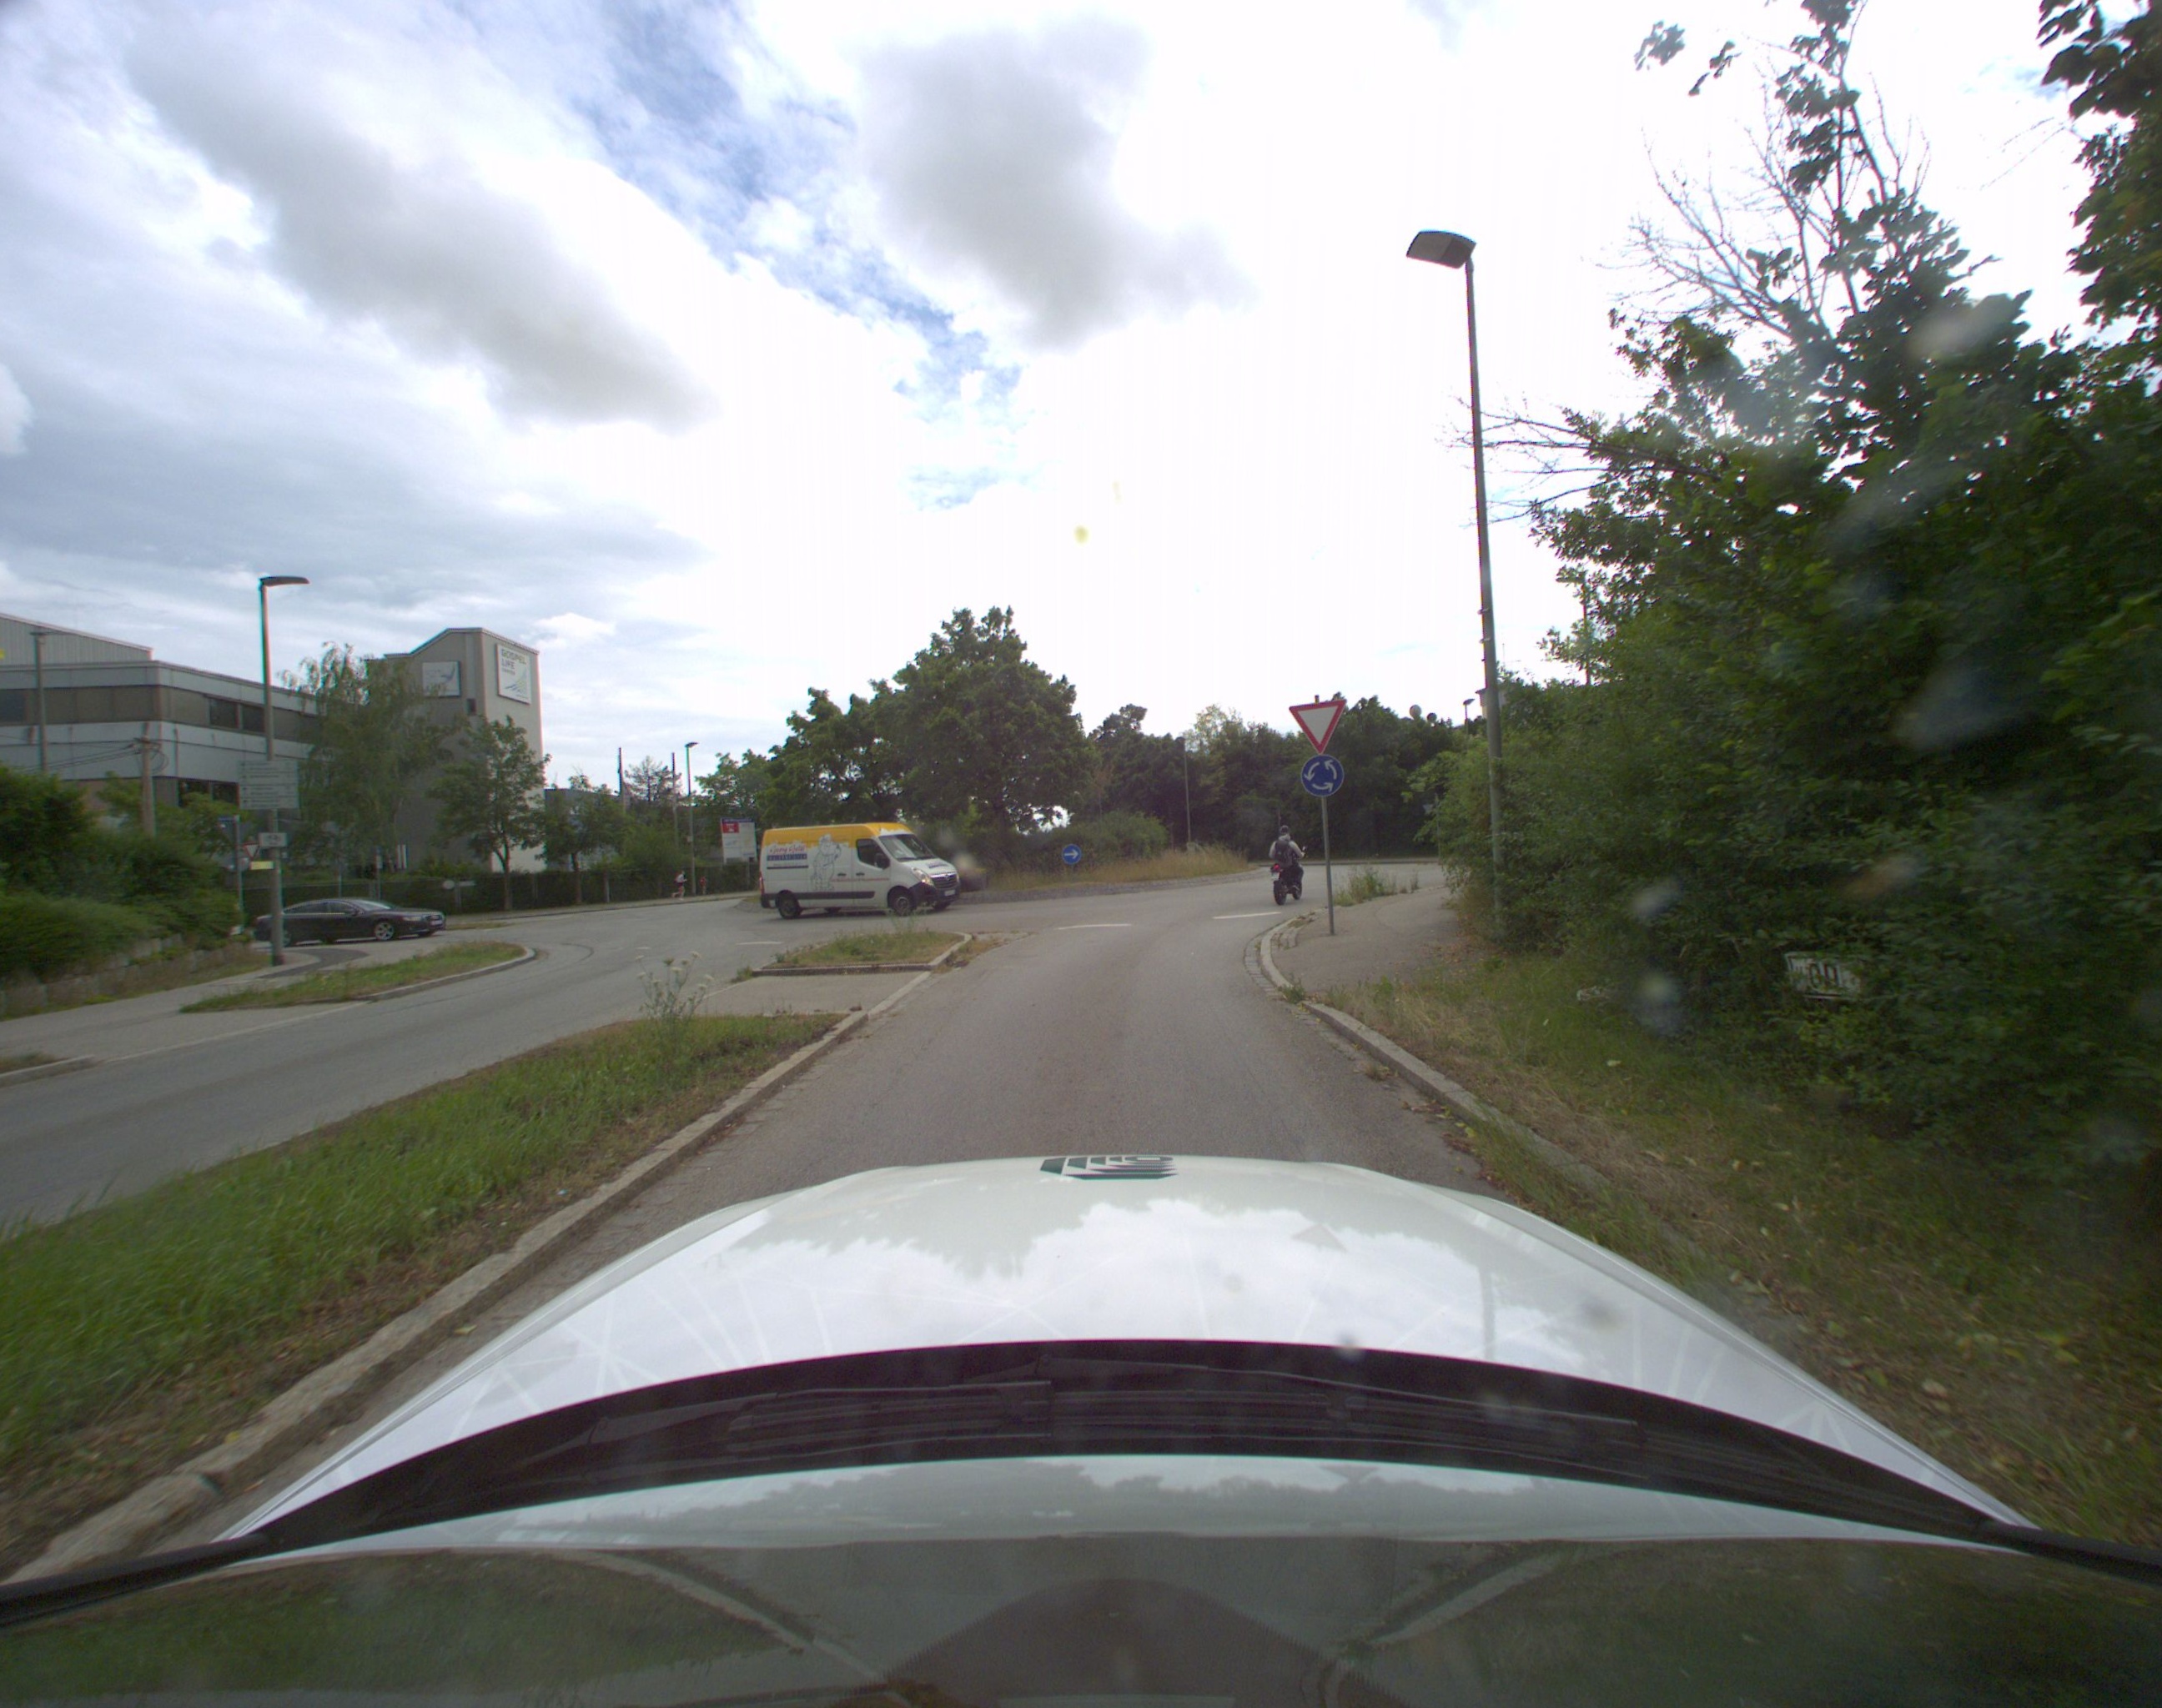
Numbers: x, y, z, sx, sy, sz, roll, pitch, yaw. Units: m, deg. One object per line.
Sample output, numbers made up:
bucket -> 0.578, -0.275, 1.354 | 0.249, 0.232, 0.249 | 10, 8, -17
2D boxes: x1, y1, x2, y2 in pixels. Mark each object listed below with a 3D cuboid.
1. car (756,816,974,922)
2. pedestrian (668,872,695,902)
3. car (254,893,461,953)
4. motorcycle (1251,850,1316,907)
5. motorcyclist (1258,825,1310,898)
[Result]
car -> -5.856, 0.420, 22.047 | 5.375, 2.451, 2.182 | -4, 1, 24
pedestrian -> -20.307, 1.678, 41.374 | 0.625, 1.468, 0.955 | -4, 0, 26
car -> -22.263, 2.103, 25.213 | 4.446, 1.347, 1.934 | -4, 1, -4
motorcycle -> 4.746, 0.529, 18.945 | 0.888, 1.158, 2.636 | -3, 0, 26
motorcyclist -> 4.726, 0.156, 18.953 | 0.853, 1.623, 1.198 | -3, 0, 26
